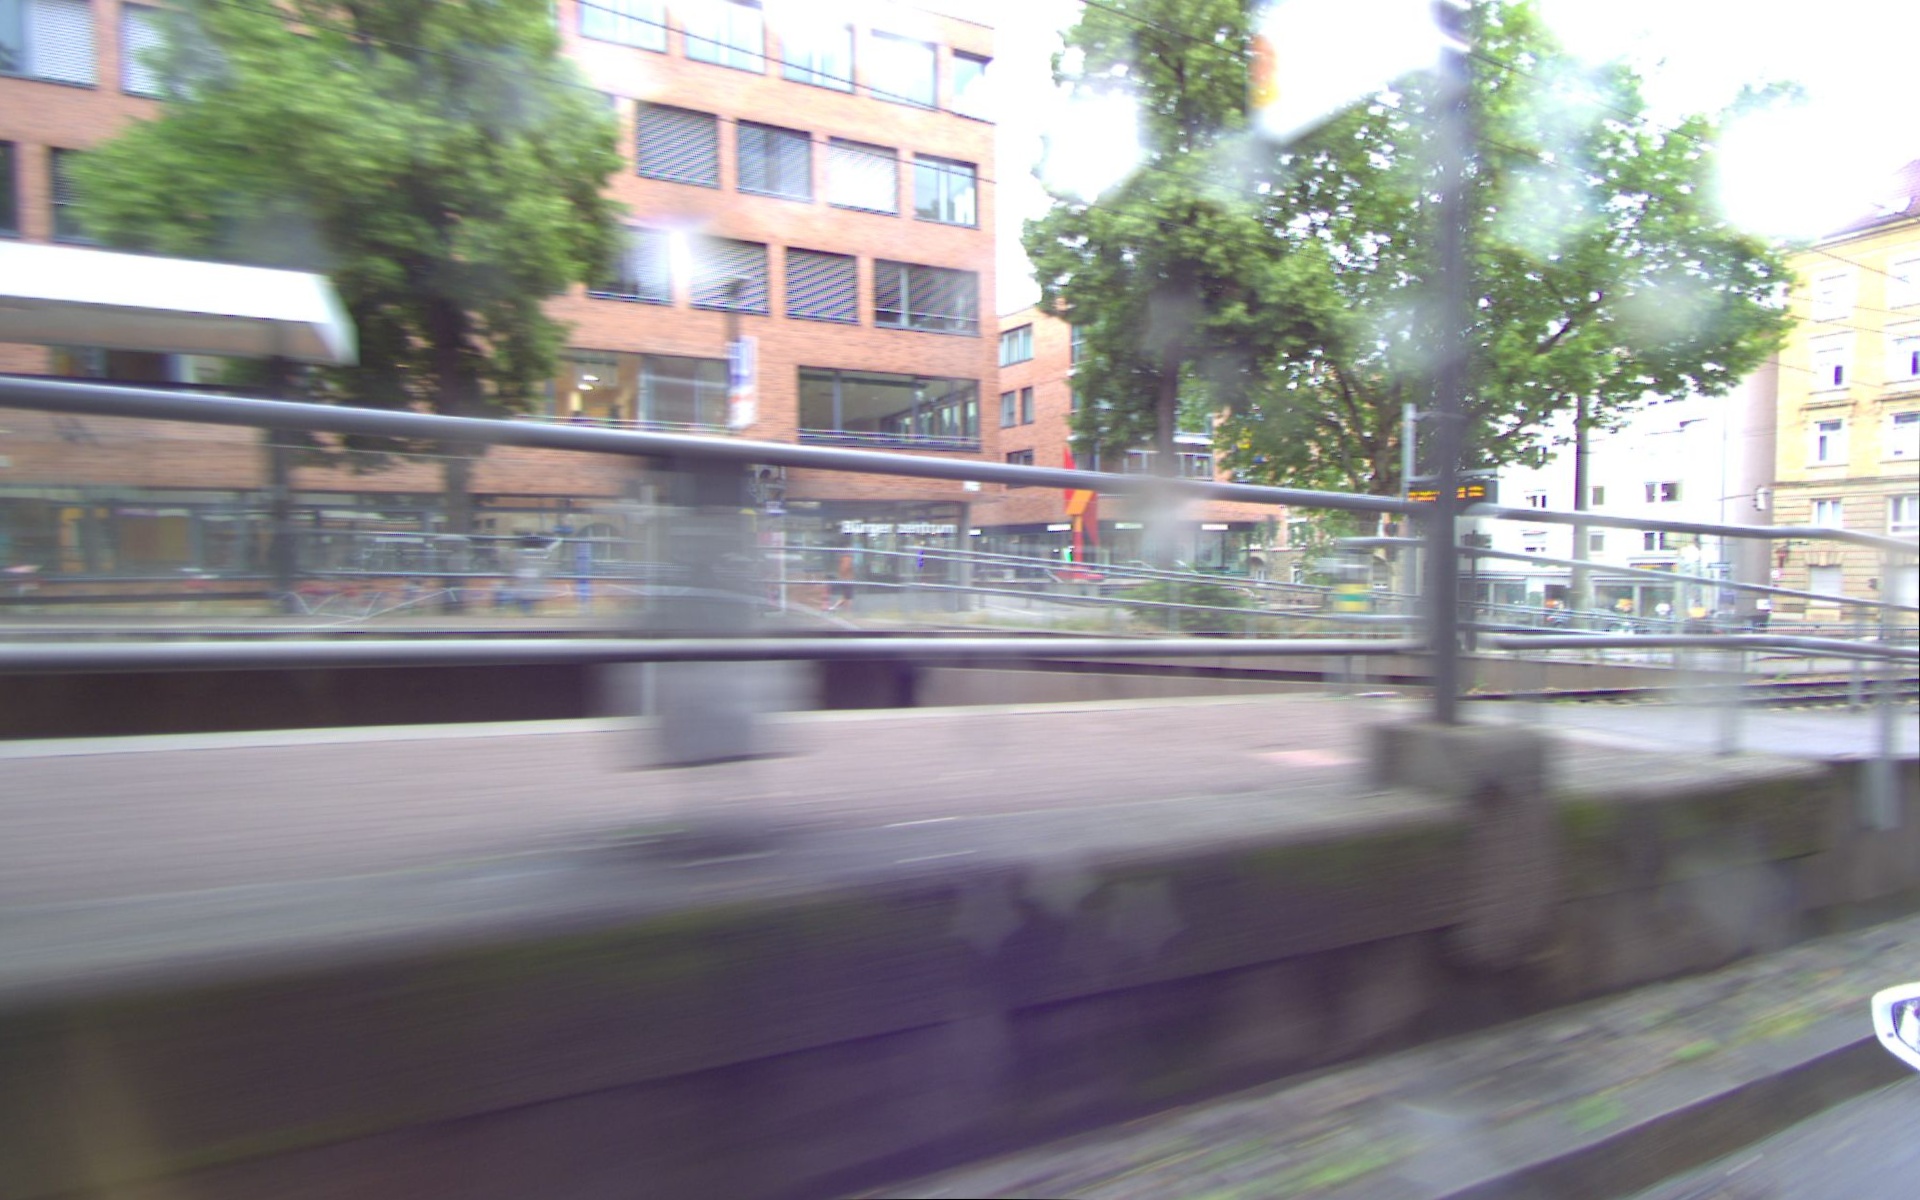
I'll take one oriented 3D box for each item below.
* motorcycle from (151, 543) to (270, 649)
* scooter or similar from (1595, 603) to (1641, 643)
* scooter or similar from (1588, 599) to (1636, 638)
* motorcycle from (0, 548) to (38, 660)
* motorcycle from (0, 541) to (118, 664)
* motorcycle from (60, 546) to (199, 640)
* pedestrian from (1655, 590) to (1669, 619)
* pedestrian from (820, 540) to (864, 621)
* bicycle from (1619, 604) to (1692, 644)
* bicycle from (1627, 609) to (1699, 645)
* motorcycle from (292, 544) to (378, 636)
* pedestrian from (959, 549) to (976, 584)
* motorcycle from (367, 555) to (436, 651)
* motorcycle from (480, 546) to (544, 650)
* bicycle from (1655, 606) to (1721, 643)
[{"bbox_3d":[-12.882,-0.128,17.415,0.993,1.627,3.849,1,2,-27],"label":"motorcycle"},{"bbox_3d":[20.685,0.729,31.590,1.090,1.211,0.362,2,2,13],"label":"scooter or similar"},{"bbox_3d":[20.837,0.586,32.124,1.226,1.211,0.299,2,2,13],"label":"scooter or similar"},{"bbox_3d":[-16.185,0.068,16.143,0.993,1.840,3.849,1,2,-27],"label":"motorcycle"},{"bbox_3d":[-15.171,-0.035,16.650,0.993,1.840,3.849,1,2,-27],"label":"motorcycle"},{"bbox_3d":[-14.093,-0.169,17.212,0.993,1.426,3.849,1,2,-27],"label":"motorcycle"},{"bbox_3d":[40.474,0.253,57.897,0.508,1.644,0.486,2,2,25],"label":"pedestrian"},{"bbox_3d":[-3.038,-0.497,25.861,0.965,2.041,0.732,1,2,-19],"label":"pedestrian"},{"bbox_3d":[22.427,0.755,32.420,0.513,1.211,1.857,0,2,-36],"label":"bicycle"},{"bbox_3d":[23.154,0.882,33.129,0.513,1.076,1.857,0,2,-37],"label":"bicycle"},{"bbox_3d":[-11.461,-0.229,18.550,0.993,1.508,3.849,1,2,-27],"label":"motorcycle"},{"bbox_3d":[0.464,-1.951,58.998,0.709,2.041,0.715,0,1,-31],"label":"pedestrian"},{"bbox_3d":[-10.469,0.007,18.916,0.993,1.649,3.046,1,2,-27],"label":"motorcycle"},{"bbox_3d":[-8.727,-0.084,19.481,0.981,1.840,3.025,1,2,-27],"label":"motorcycle"},{"bbox_3d":[24.953,0.825,34.454,0.513,1.158,1.754,0,2,-36],"label":"bicycle"}]
